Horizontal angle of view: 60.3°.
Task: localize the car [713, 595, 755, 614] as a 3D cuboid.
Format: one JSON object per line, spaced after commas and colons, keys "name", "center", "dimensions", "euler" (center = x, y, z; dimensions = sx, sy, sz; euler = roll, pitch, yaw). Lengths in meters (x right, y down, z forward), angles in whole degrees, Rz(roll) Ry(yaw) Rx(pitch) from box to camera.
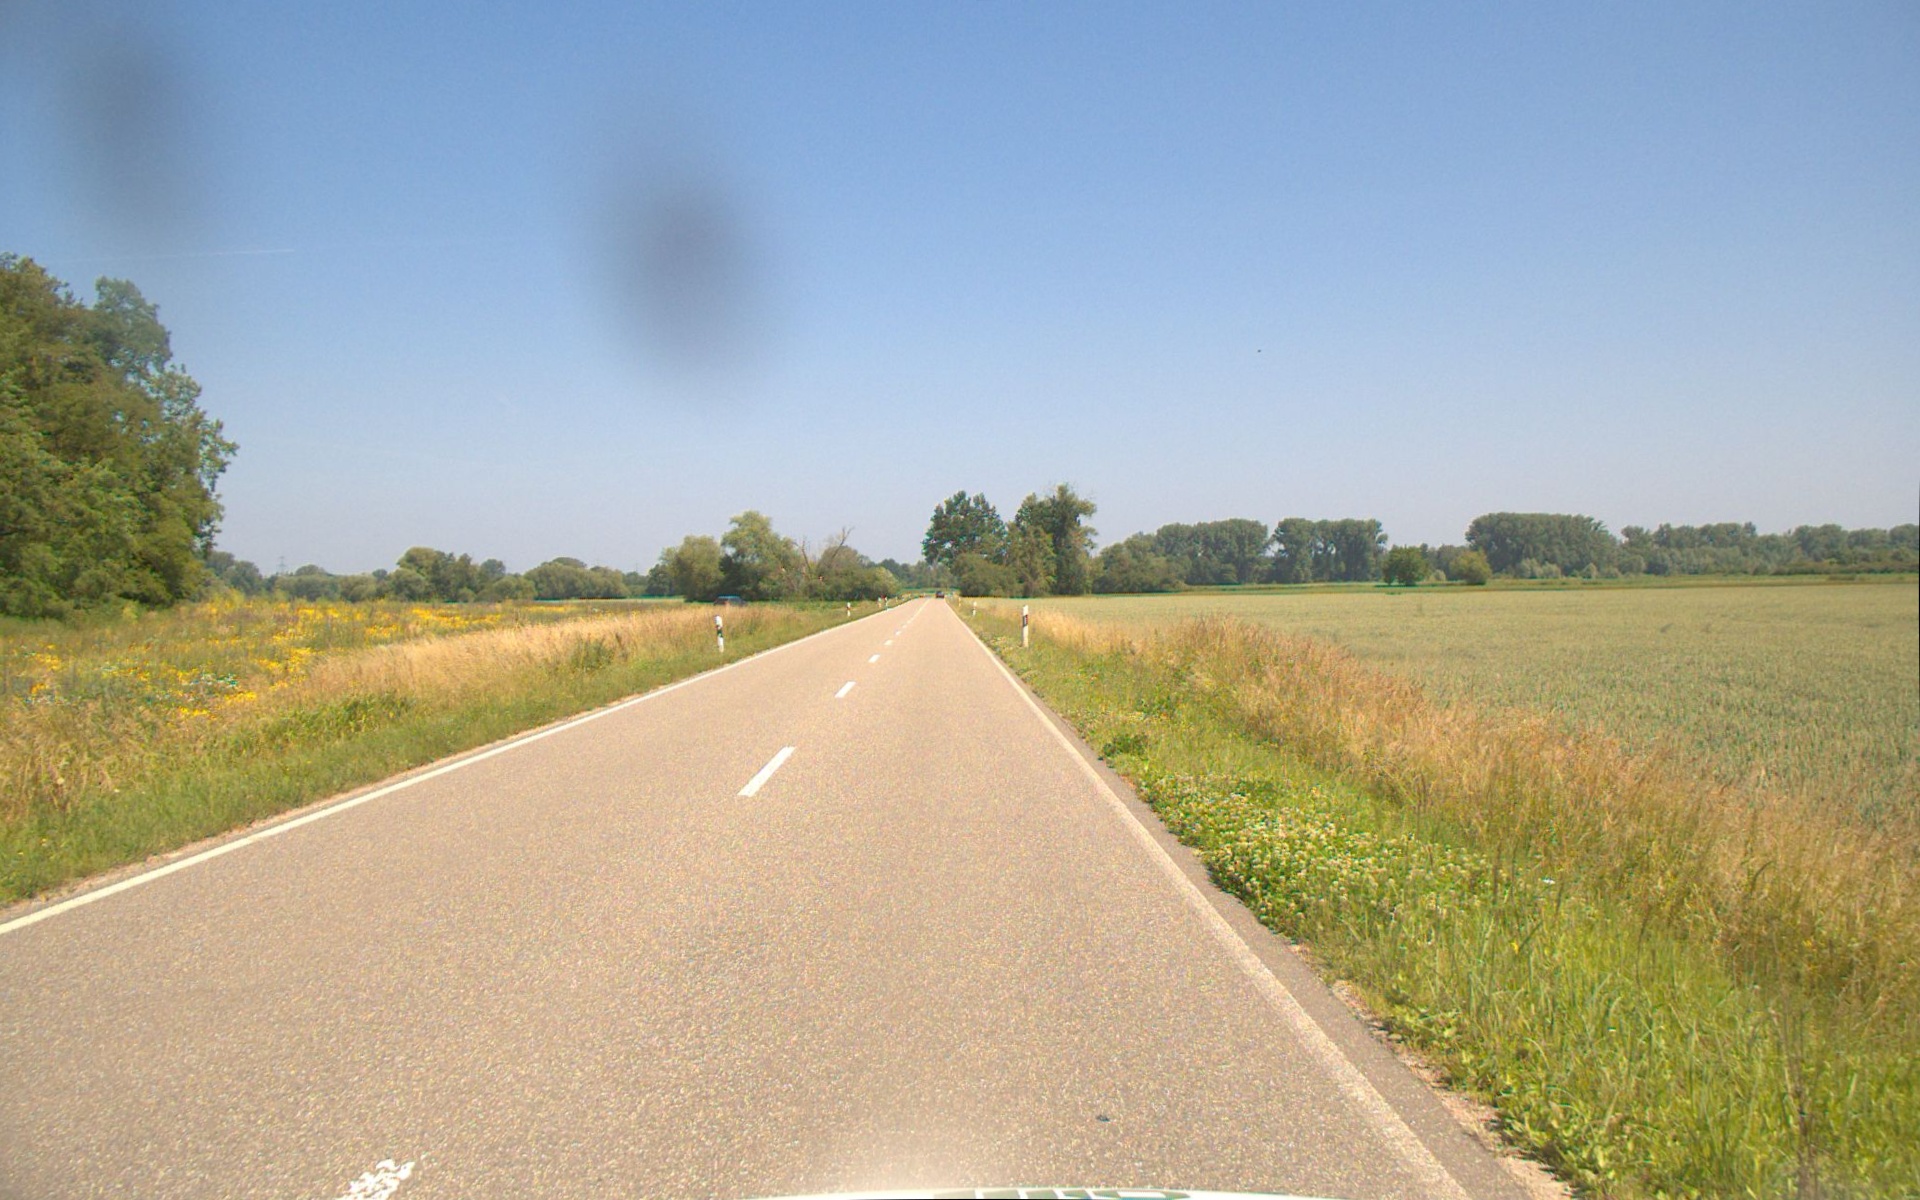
{"name": "car", "center": [-21.065, 0.379, 154.122], "dimensions": [1.718, 1.680, 4.527], "euler": [-1, 0, 24]}
